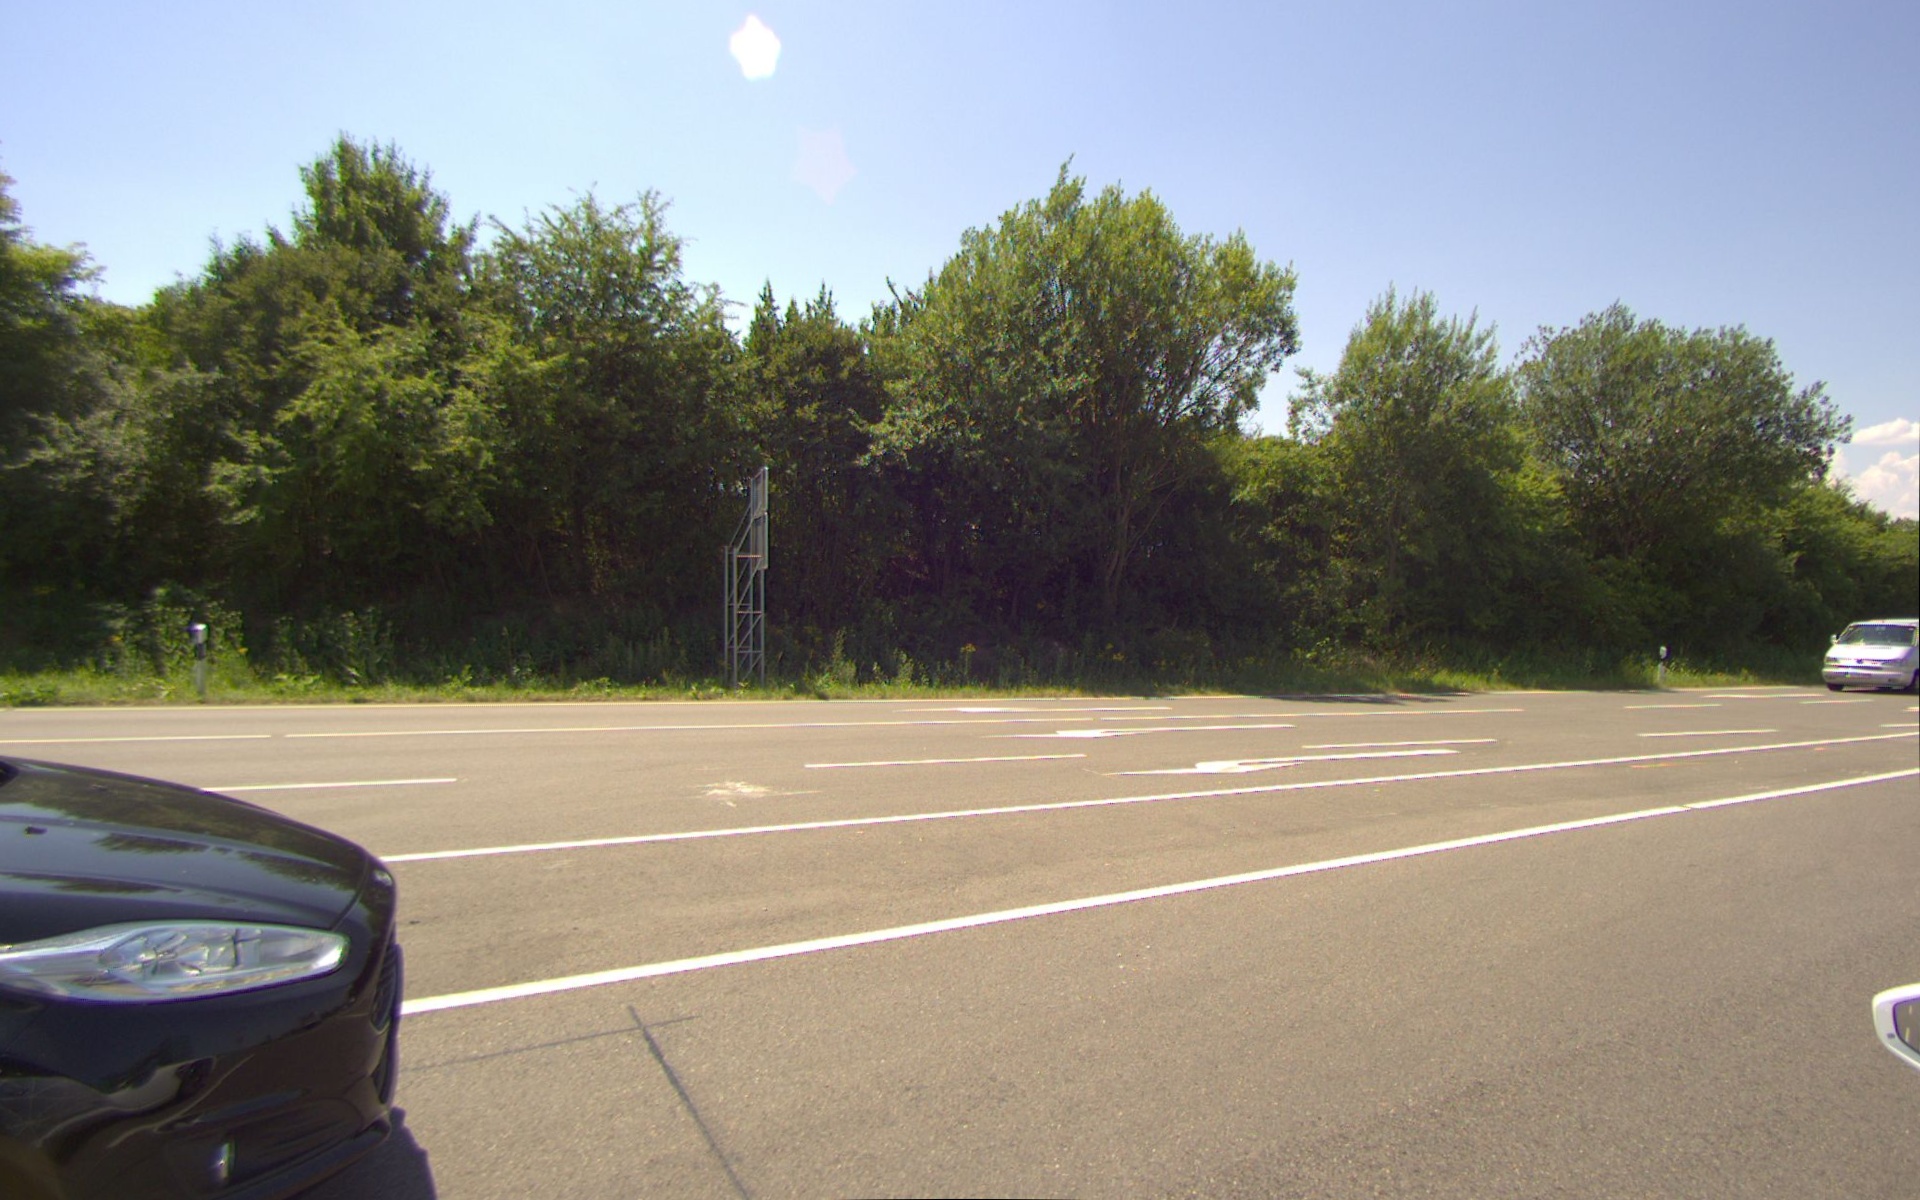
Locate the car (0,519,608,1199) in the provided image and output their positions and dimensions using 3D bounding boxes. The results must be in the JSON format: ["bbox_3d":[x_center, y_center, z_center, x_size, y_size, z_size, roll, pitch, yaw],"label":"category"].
[{"bbox_3d":[-2.876,0.655,1.606,4.157,1.513,1.645,0,0,-30],"label":"car"}]

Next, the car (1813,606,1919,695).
[{"bbox_3d":[24.984,1.254,26.871,4.787,2.041,1.962,-1,2,-33],"label":"car"}]
